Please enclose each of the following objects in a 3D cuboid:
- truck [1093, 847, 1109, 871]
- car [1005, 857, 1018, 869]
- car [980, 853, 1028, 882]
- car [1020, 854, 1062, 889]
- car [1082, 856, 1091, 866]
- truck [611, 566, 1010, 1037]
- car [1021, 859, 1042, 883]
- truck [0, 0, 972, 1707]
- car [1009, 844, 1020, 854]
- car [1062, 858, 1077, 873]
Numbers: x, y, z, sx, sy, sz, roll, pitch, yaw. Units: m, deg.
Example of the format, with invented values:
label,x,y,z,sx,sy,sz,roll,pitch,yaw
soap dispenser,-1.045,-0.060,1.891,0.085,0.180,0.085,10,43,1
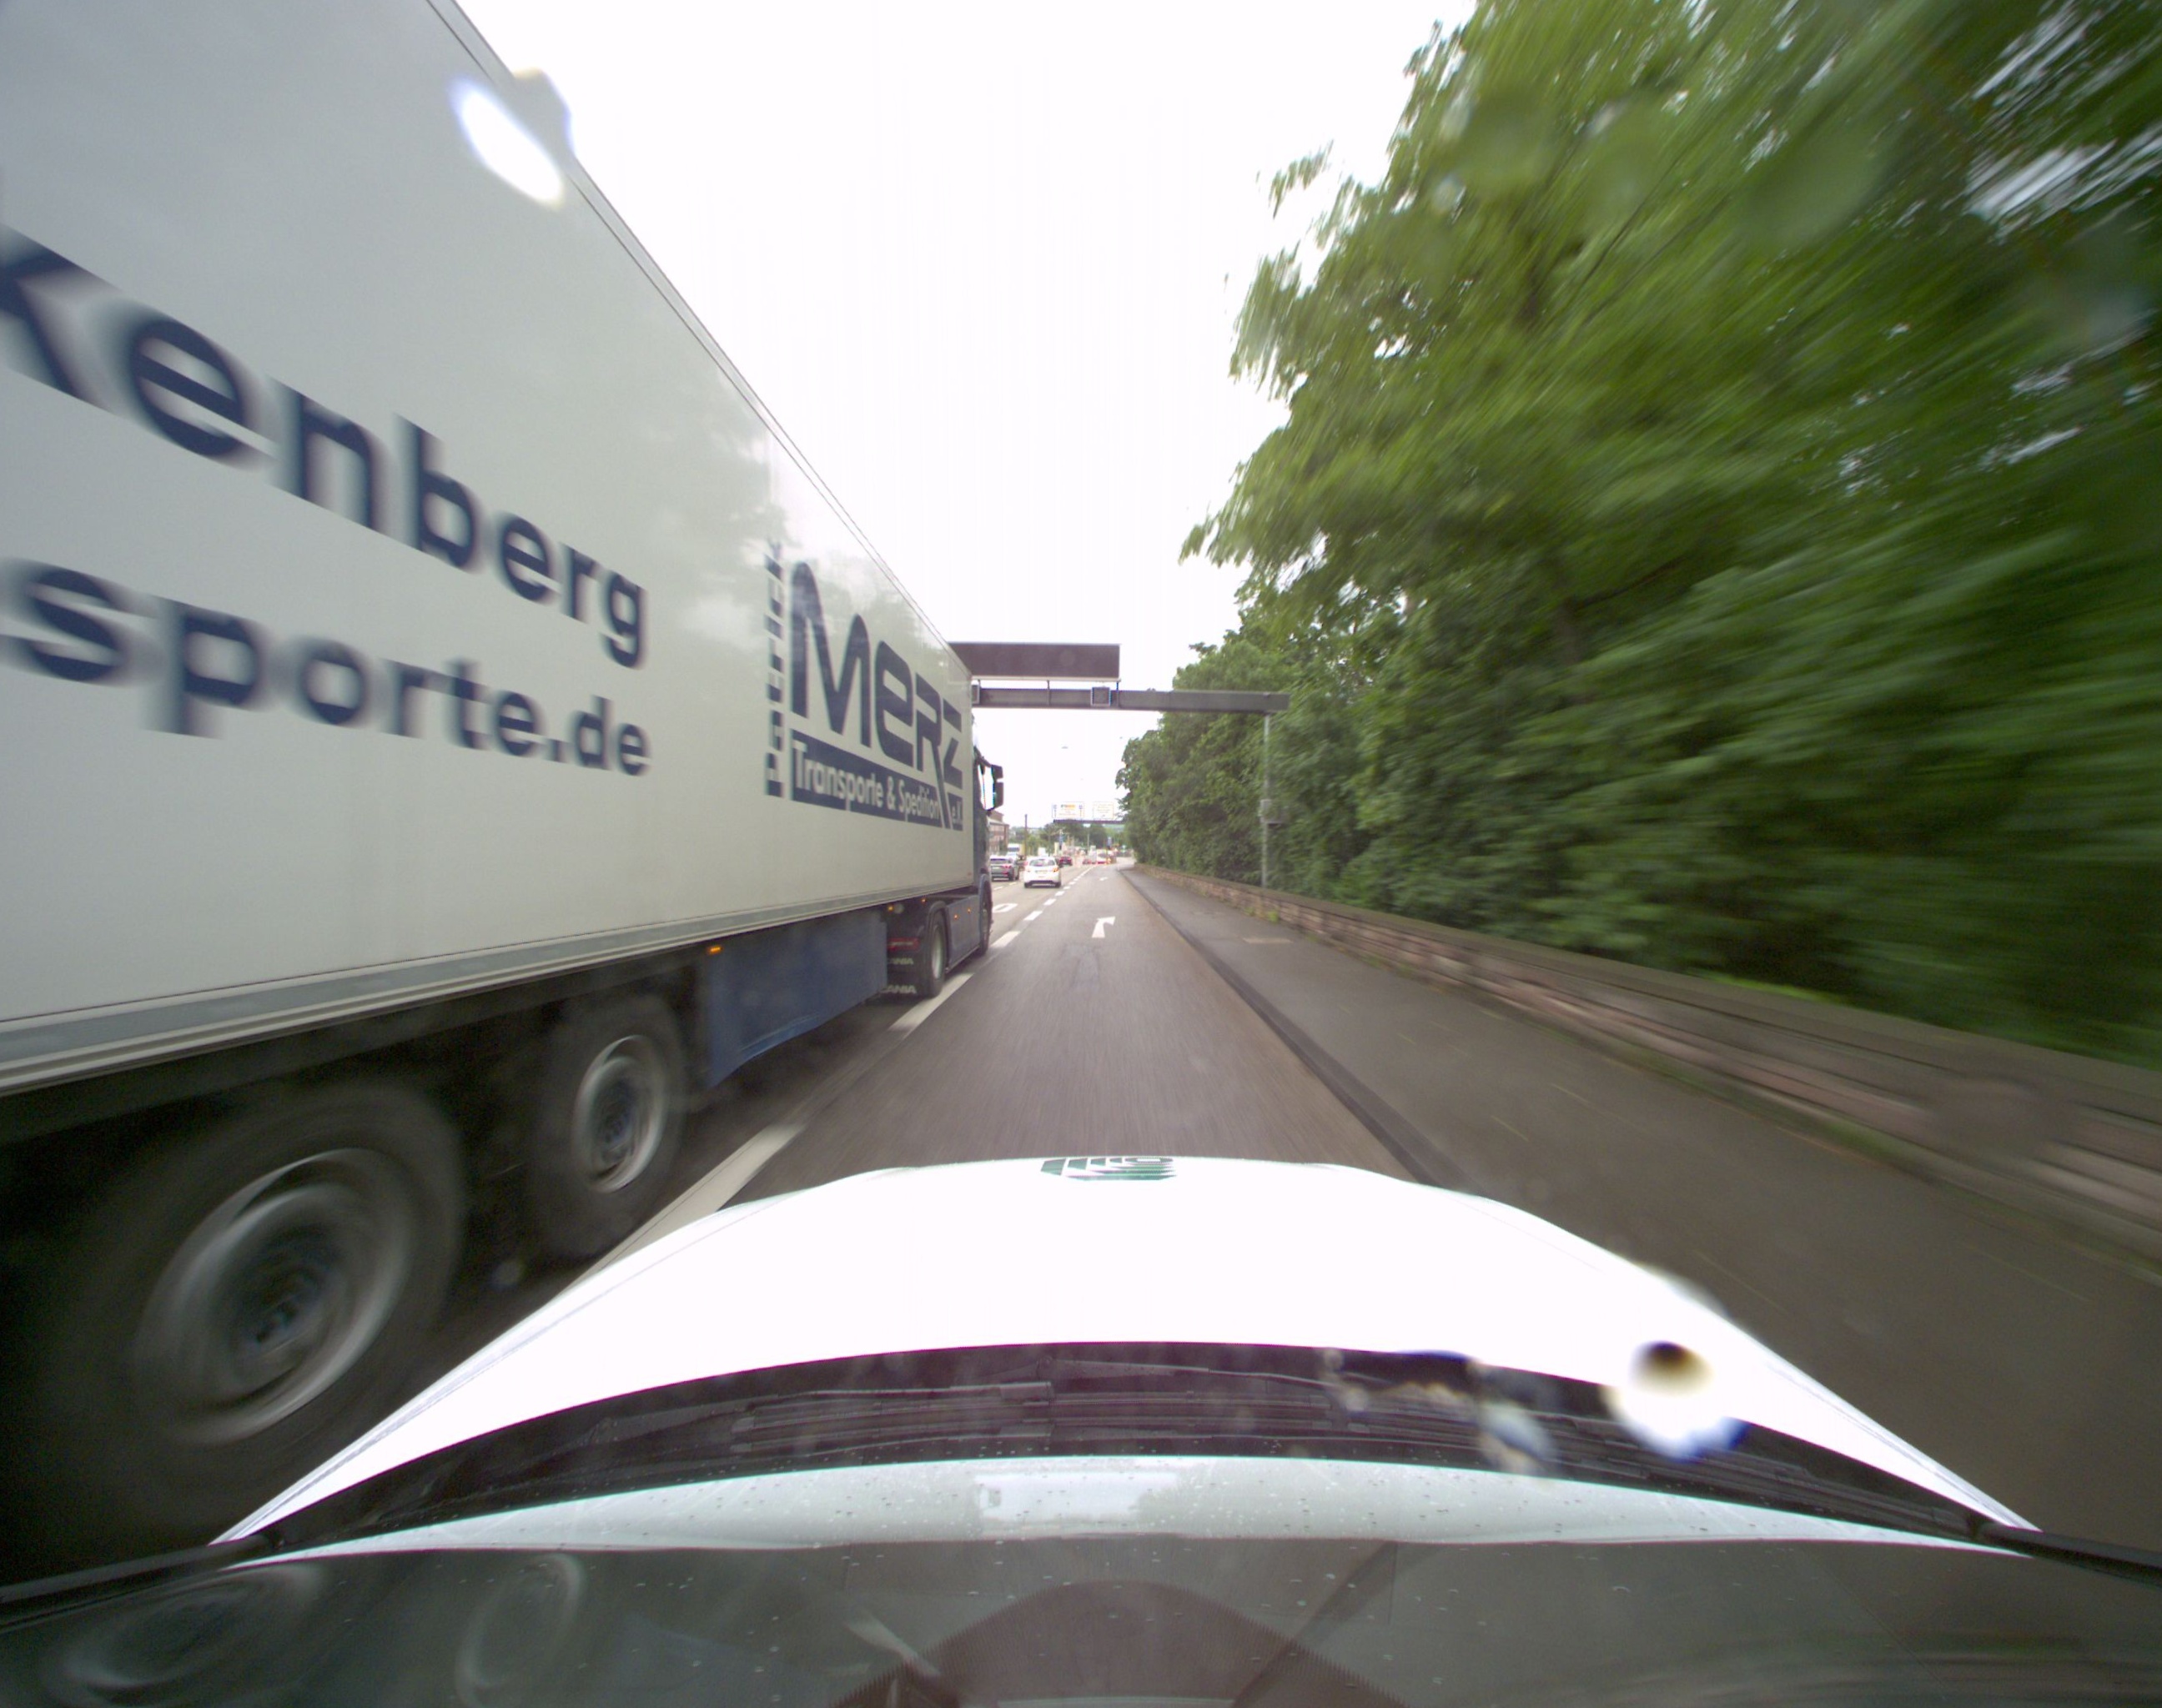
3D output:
label,x,y,z,sx,sy,sz,roll,pitch,yaw
truck,4.916,1.252,198.526,3.449,5.402,12.061,0,-3,4
car,-13.101,1.675,154.458,1.986,2.014,4.000,0,-3,1
car,-4.621,0.759,49.293,1.810,1.565,4.103,-3,0,10
car,-1.919,0.809,39.861,1.950,1.488,3.998,1,1,-2
car,1.257,1.546,182.670,1.986,2.014,4.000,0,-3,1
truck,-2.758,-0.500,10.814,2.752,4.197,6.786,-2,0,1
car,-4.584,1.568,75.048,1.720,1.891,3.528,-1,3,-7
truck,-2.934,-0.535,3.471,2.752,4.197,13.035,-2,0,1
car,-15.147,-1.075,186.244,1.986,2.014,4.000,0,-3,1
car,-1.618,1.660,116.086,1.986,2.014,4.000,0,-3,1
